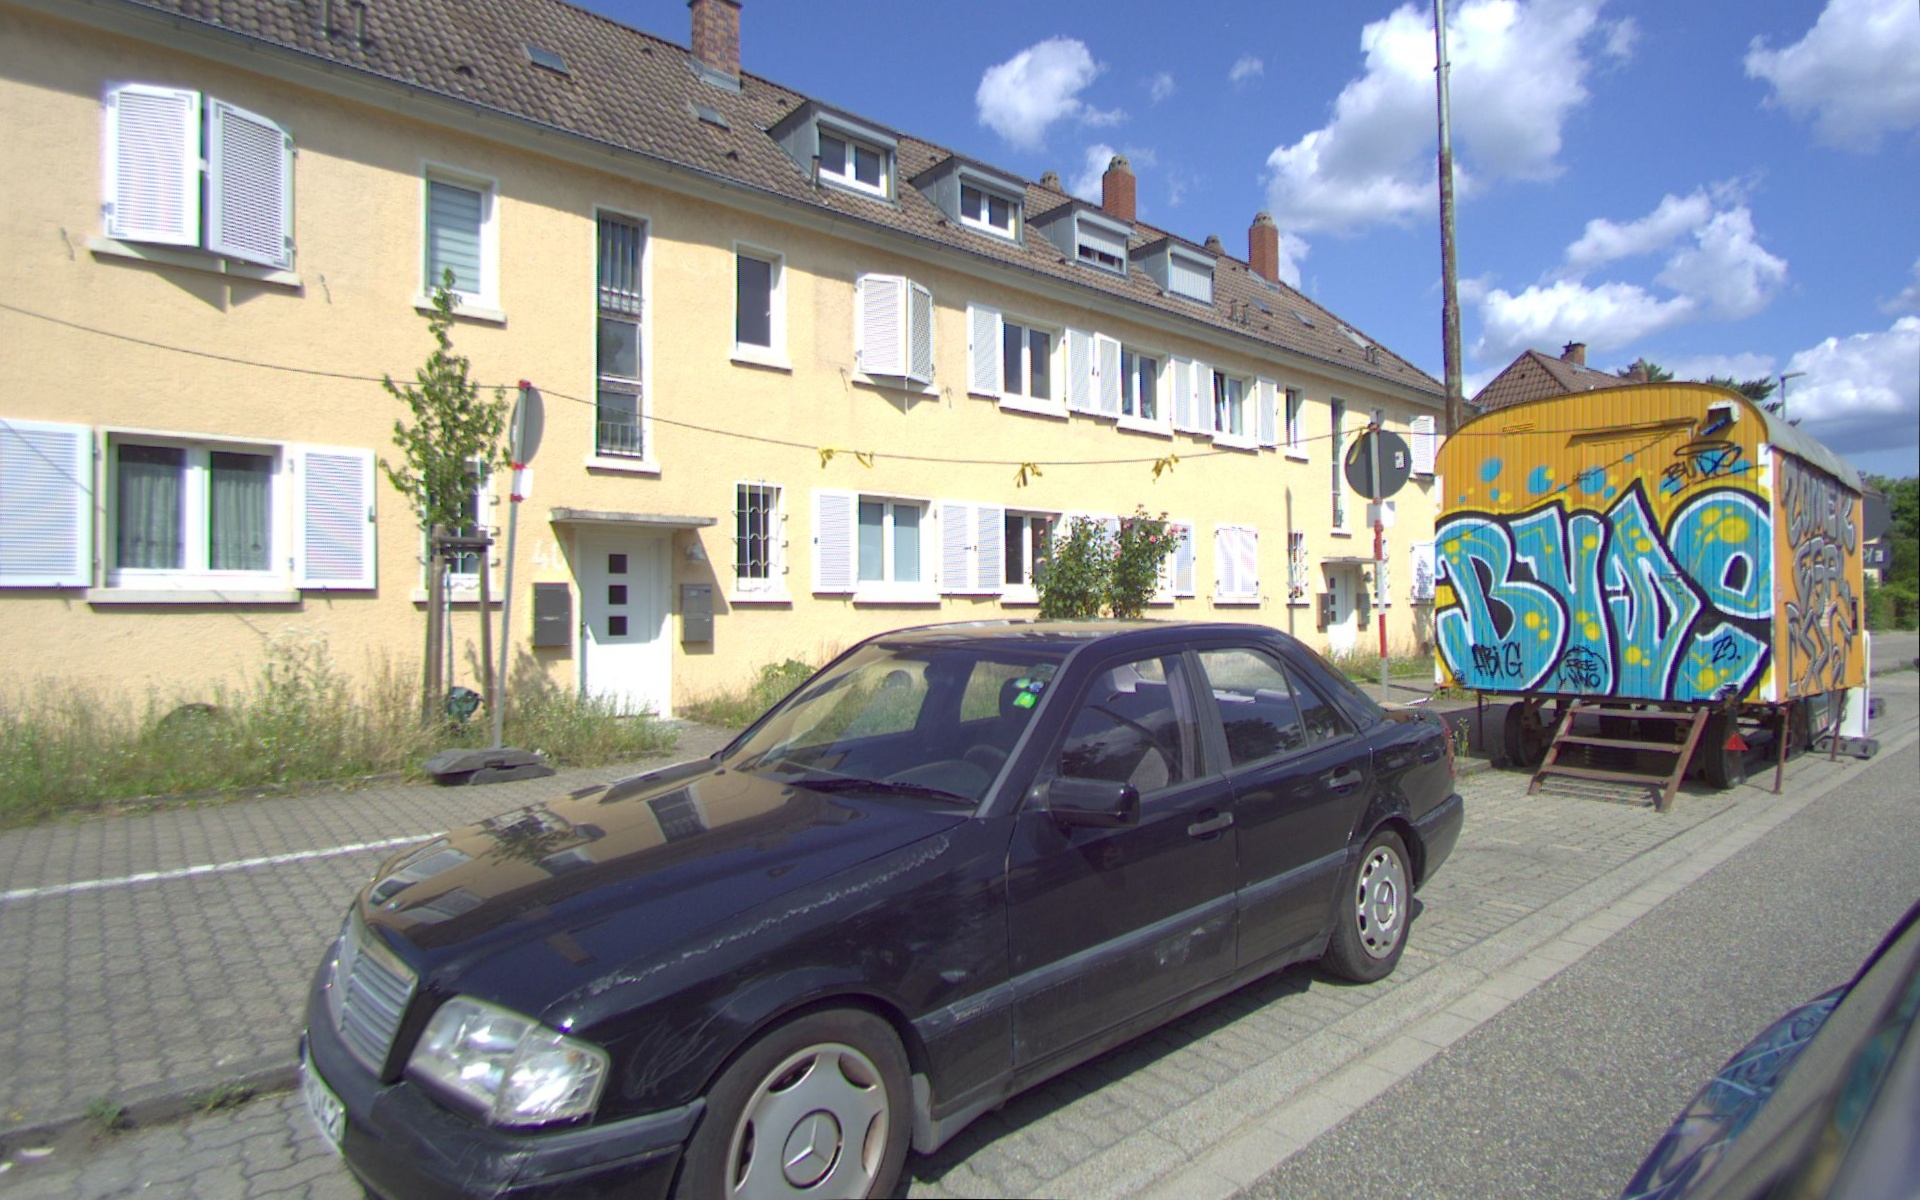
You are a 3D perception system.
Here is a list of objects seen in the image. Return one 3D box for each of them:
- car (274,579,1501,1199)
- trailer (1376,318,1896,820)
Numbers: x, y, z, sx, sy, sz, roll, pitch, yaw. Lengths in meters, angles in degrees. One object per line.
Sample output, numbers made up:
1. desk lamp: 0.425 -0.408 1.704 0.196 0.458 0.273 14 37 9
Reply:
1. car: 0.269 0.717 3.649 4.377 1.468 1.579 0 -1 -42
2. trailer: 6.332 -0.186 9.253 4.993 3.268 2.694 0 -1 -41
